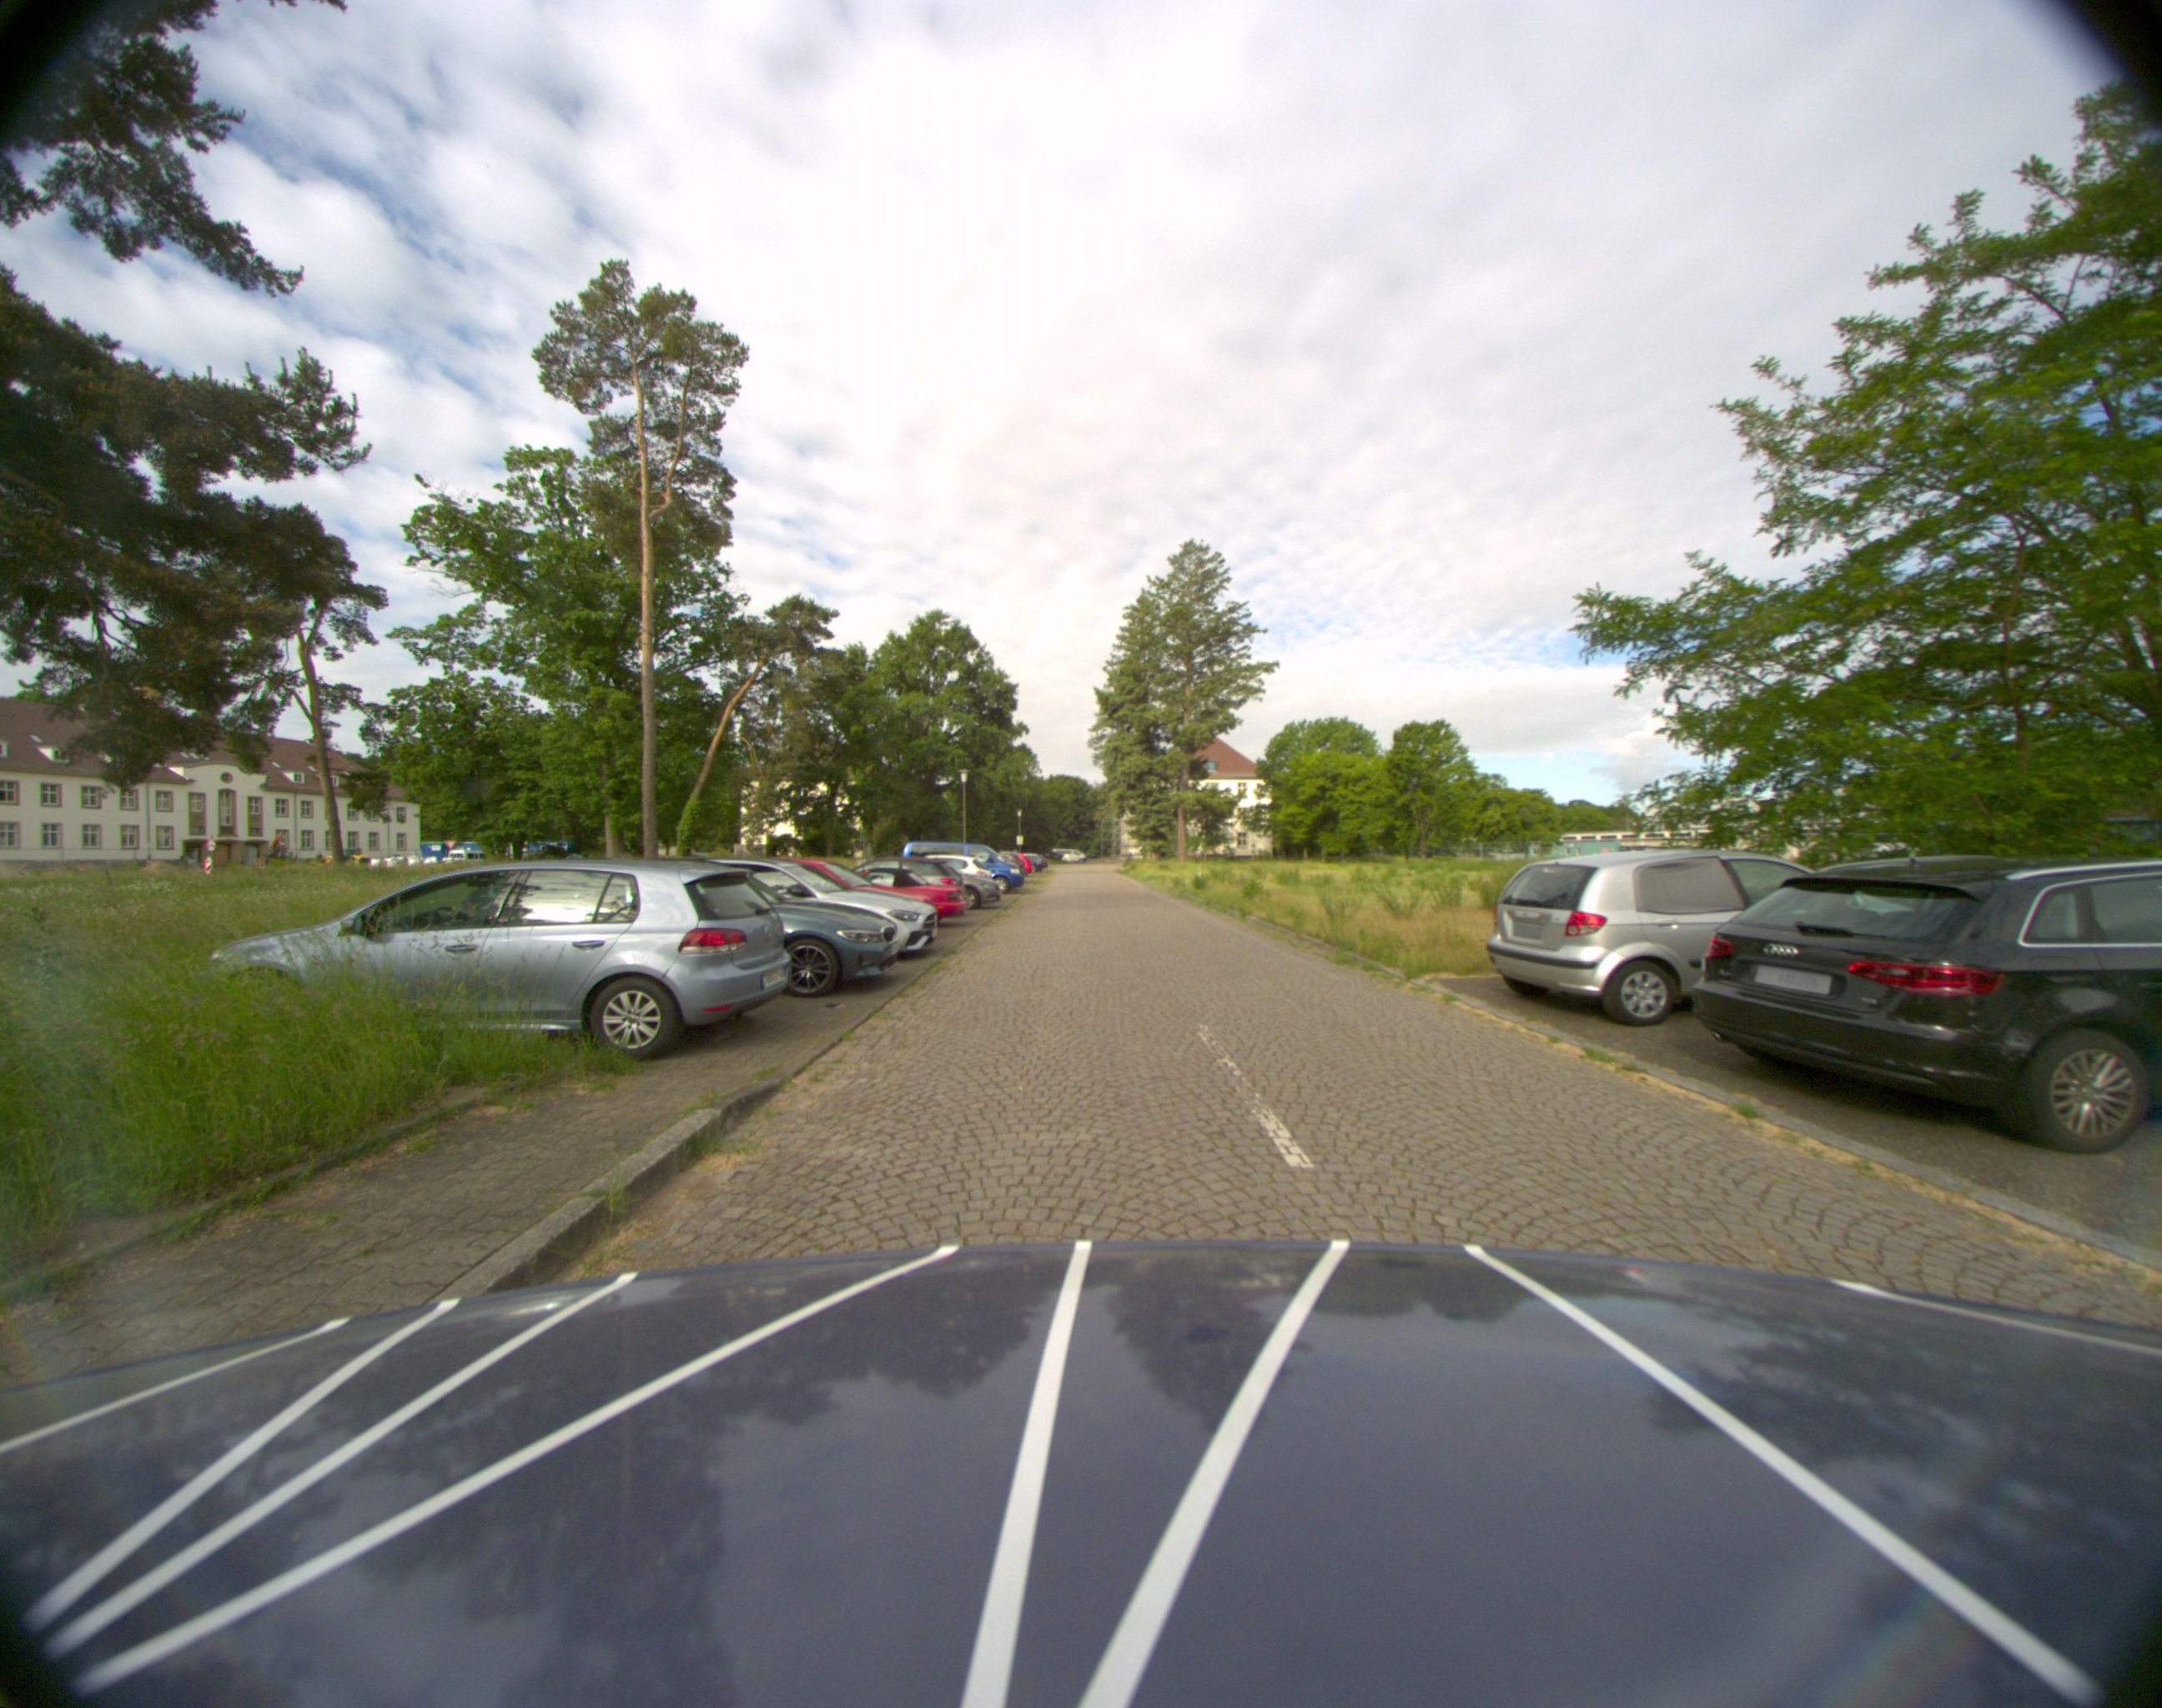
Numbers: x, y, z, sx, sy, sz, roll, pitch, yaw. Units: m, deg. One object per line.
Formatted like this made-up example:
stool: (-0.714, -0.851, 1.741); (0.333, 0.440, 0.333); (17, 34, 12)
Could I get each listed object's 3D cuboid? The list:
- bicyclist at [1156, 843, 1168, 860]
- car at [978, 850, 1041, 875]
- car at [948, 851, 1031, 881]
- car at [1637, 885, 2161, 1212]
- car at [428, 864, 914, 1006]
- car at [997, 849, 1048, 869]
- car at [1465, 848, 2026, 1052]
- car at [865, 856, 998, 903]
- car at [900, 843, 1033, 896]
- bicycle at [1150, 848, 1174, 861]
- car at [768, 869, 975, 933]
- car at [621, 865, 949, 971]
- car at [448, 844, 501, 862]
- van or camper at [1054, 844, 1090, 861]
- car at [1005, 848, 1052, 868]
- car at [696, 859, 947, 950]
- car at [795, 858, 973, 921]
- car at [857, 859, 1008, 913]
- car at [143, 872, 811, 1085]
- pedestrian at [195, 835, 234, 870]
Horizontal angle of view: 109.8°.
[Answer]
bicyclist: (9.067, -0.256, 85.036); (1.318, 1.857, 1.250); (0, 1, 5)
car: (-4.588, 0.546, 49.110); (3.998, 1.560, 1.999); (0, 1, -3)
car: (-4.628, 0.586, 38.815); (3.996, 1.496, 1.869); (0, 1, 2)
car: (6.305, 0.943, 4.560); (4.633, 1.414, 1.884); (0, 1, -3)
car: (-4.443, 0.850, 8.777); (4.630, 1.437, 1.796); (0, 1, 0)
car: (-4.574, 0.368, 59.418); (3.791, 1.560, 2.000); (0, 1, 1)
car: (6.068, 0.780, 7.214); (3.985, 1.448, 1.680); (-3, 1, -5)
car: (-4.781, 0.804, 24.684); (3.933, 1.441, 1.796); (0, 1, 0)
car: (-4.439, 0.558, 29.883); (4.839, 2.002, 2.000); (0, 1, 4)
bicycle: (9.042, 0.064, 85.049); (2.673, 1.496, 1.273); (0, 1, 5)
car: (-4.391, 0.971, 16.341); (3.932, 1.227, 1.796); (0, 1, 1)
car: (-4.332, 0.907, 11.570); (4.266, 1.437, 1.797); (0, 1, 2)
car: (-68.622, -0.157, 86.023); (2.166, 2.002, 4.833); (0, 1, -2)
van or camper: (-1.357, -0.250, 112.938); (5.248, 2.449, 2.208); (0, 1, -2)
car: (-4.393, 0.313, 63.899); (3.791, 1.615, 2.000); (0, 1, 1)
car: (-4.584, 0.866, 13.821); (3.932, 1.504, 1.797); (0, 1, 2)
car: (-4.800, 0.840, 18.922); (3.932, 1.467, 1.796); (0, 1, 1)
car: (-4.122, 0.878, 21.605); (3.933, 1.427, 1.796); (0, 1, 0)
car: (-4.529, 0.886, 6.184); (3.997, 1.410, 1.796); (0, 1, 1)
pedestrian: (-54.865, -0.082, 48.135); (1.184, 2.165, 1.056); (0, 1, 0)
